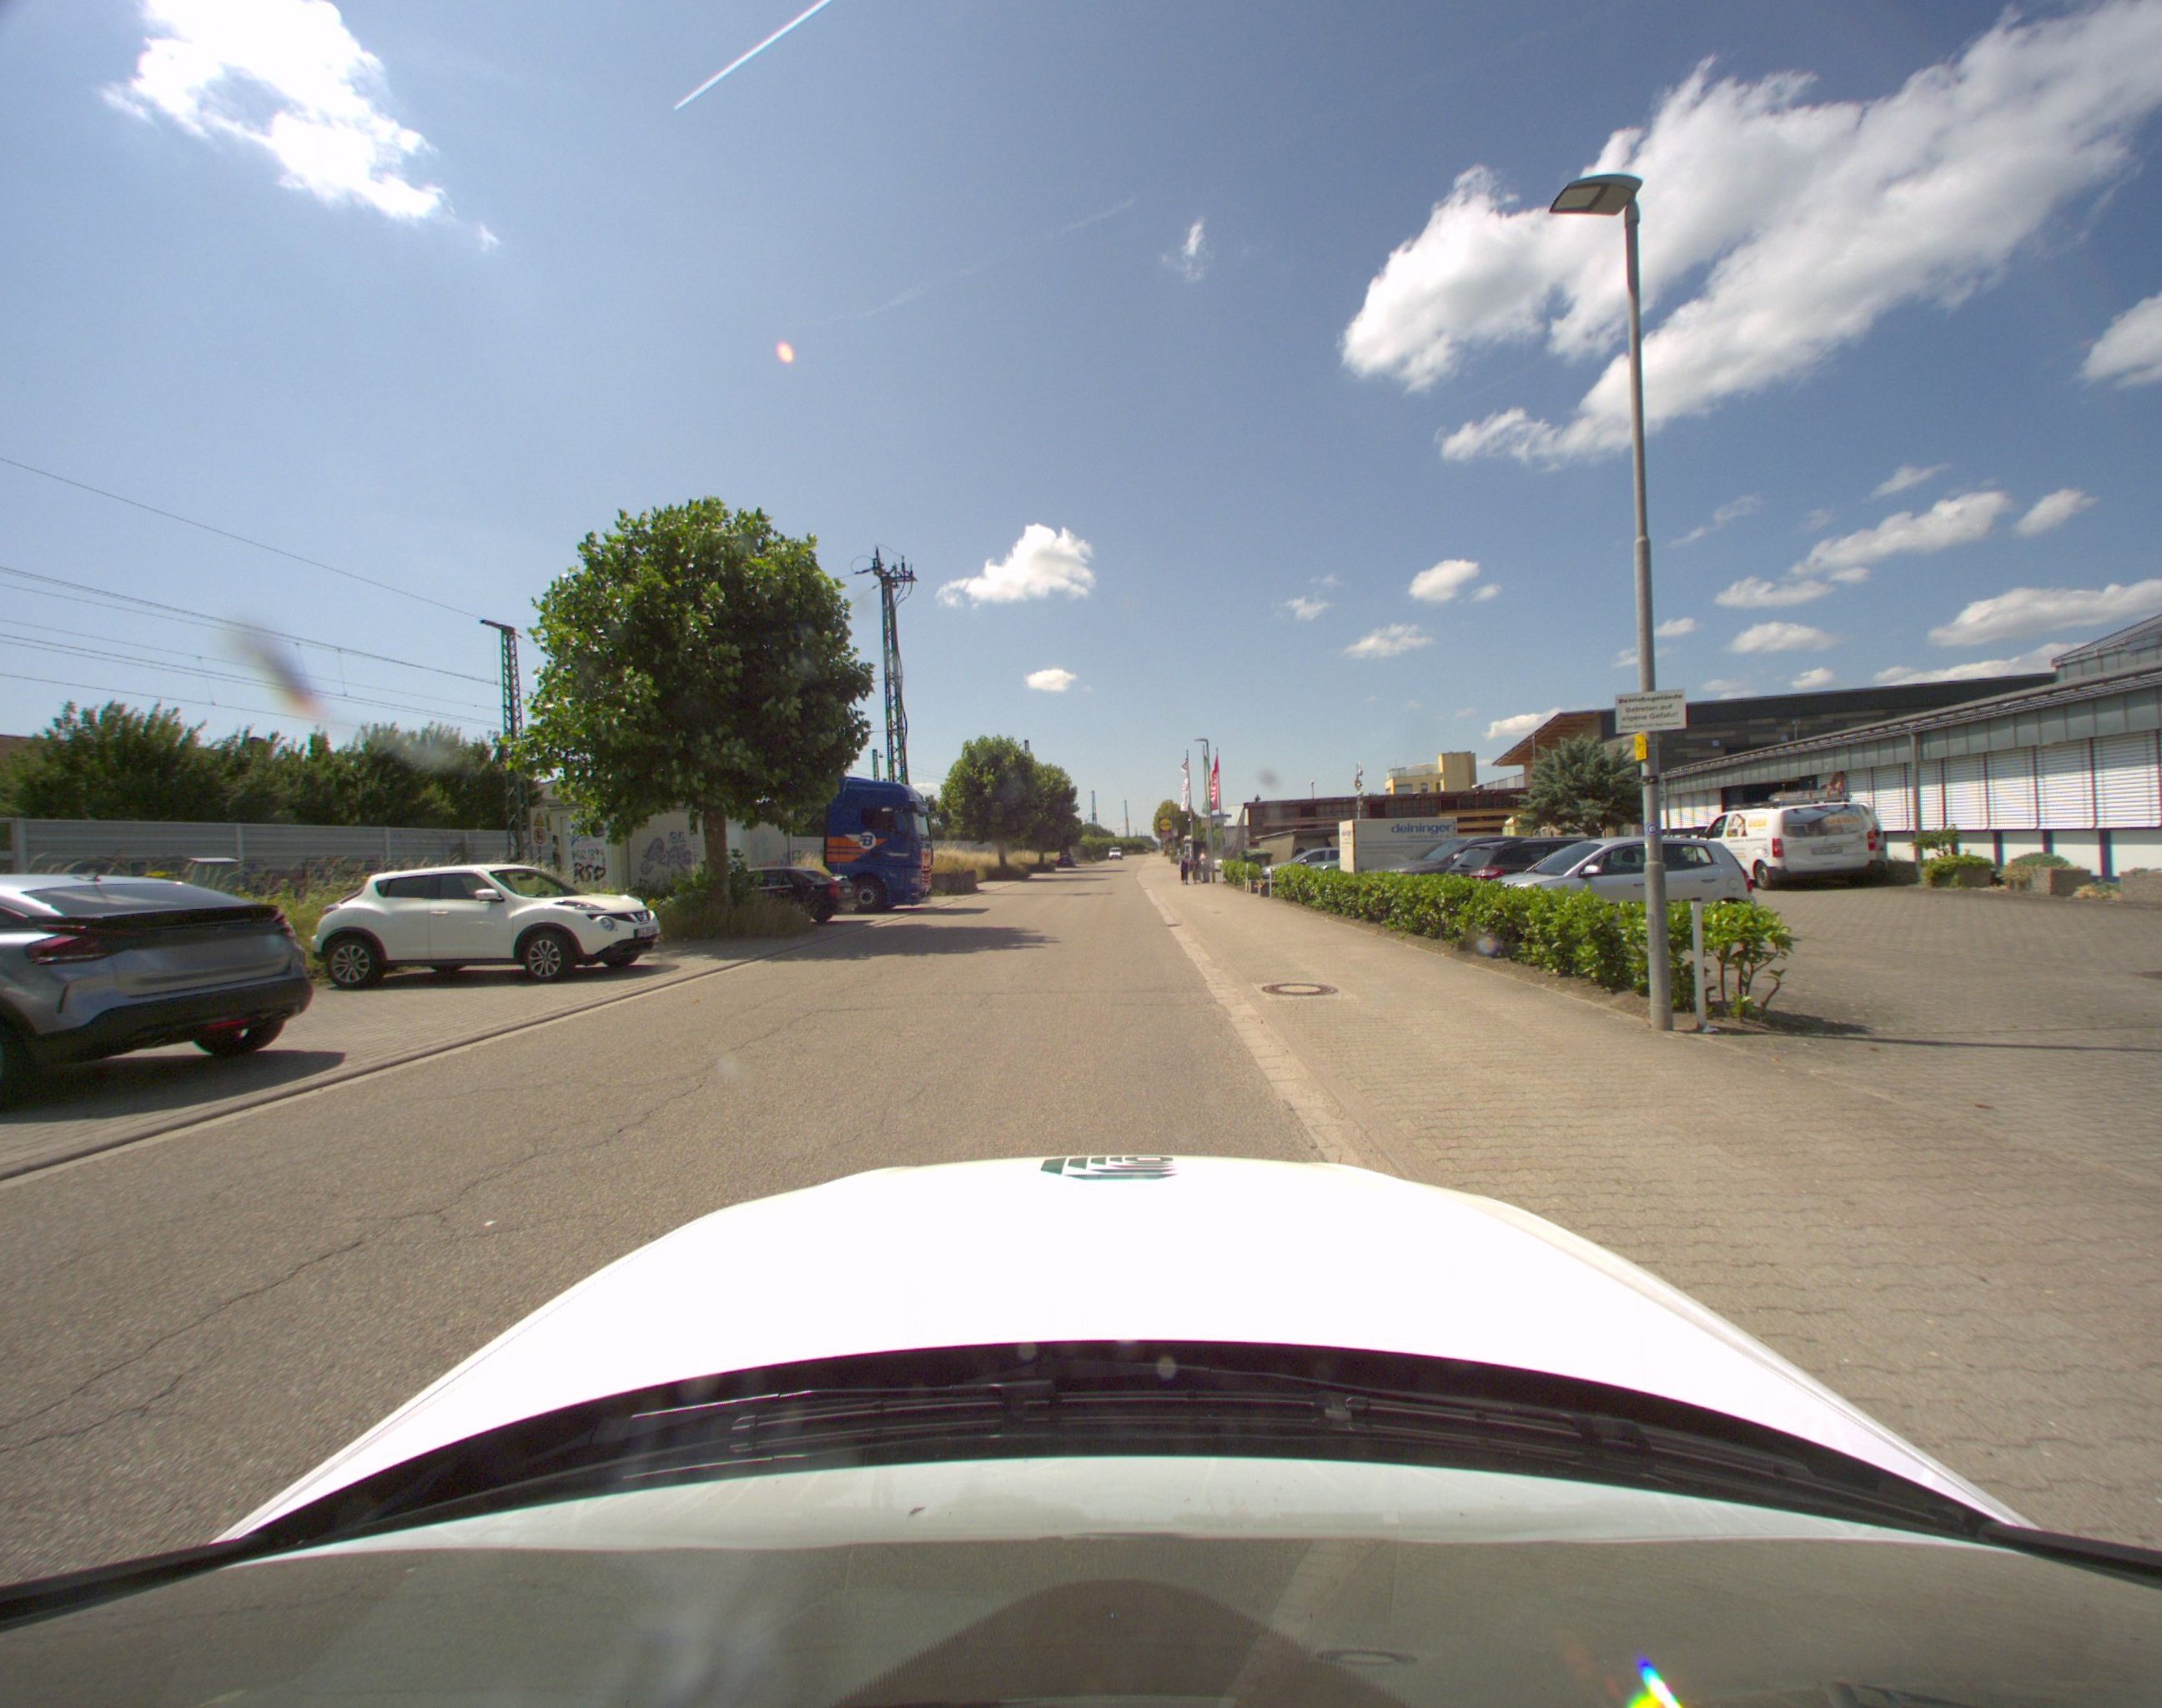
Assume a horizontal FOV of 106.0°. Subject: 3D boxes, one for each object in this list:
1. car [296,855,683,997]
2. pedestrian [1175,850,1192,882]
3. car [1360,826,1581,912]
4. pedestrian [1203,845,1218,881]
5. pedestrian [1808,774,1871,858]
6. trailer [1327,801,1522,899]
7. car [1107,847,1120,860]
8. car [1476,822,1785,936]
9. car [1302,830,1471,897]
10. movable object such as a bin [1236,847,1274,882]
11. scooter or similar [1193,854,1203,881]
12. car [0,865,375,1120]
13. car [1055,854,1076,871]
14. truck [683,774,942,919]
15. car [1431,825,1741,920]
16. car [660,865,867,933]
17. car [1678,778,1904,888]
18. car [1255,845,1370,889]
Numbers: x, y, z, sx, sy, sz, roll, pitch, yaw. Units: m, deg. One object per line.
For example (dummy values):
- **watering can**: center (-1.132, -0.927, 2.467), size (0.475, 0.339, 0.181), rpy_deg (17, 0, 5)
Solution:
- **car**: center (-8.052, 0.927, 11.398), size (3.958, 1.618, 1.850), rpy_deg (-3, 0, -1)
- **pedestrian**: center (4.605, 0.535, 36.609), size (0.591, 1.405, 0.584), rpy_deg (-4, -2, 2)
- **car**: center (8.522, 0.331, 18.040), size (4.024, 1.574, 1.712), rpy_deg (-3, -2, -3)
- **pedestrian**: center (5.800, 0.400, 36.429), size (0.533, 1.540, 0.511), rpy_deg (-4, -2, 2)
- **pedestrian**: center (18.376, -0.914, 19.736), size (0.713, 1.943, 0.690), rpy_deg (-4, -2, 1)
- **trailer**: center (8.625, -0.052, 20.772), size (3.970, 2.014, 2.001), rpy_deg (-5, -4, 3)
- **car**: center (5.030, -0.070, 126.872), size (1.830, 1.858, 4.489), rpy_deg (-2, 0, 4)
- **car**: center (7.998, 0.347, 12.146), size (3.335, 1.401, 1.773), rpy_deg (-3, 0, 7)
- **car**: center (8.868, 0.303, 23.909), size (4.197, 1.634, 1.801), rpy_deg (-4, -2, 1)
- **movable object such as a bin**: center (7.714, 0.456, 36.181), size (1.272, 1.458, 1.038), rpy_deg (-1, 0, -34)
- **scooter or similar**: center (5.255, 0.602, 36.545), size (0.332, 1.198, 0.398), rpy_deg (-4, -2, 4)
- **car**: center (-8.197, 0.952, 6.125), size (3.973, 1.547, 2.000), rpy_deg (-2, 0, 1)
- **car**: center (-1.560, 0.820, 82.796), size (1.734, 1.596, 3.582), rpy_deg (-2, 0, 3)
- **truck**: center (-7.711, -0.210, 24.024), size (6.590, 3.823, 2.665), rpy_deg (-2, 0, 1)
- **car**: center (8.939, 0.303, 14.685), size (4.460, 1.440, 1.814), rpy_deg (-2, 0, -1)
- **car**: center (-7.595, 1.051, 19.770), size (4.193, 1.395, 1.872), rpy_deg (-2, 0, 1)
- **car**: center (16.516, -0.456, 19.351), size (2.085, 2.125, 4.736), rpy_deg (-5, -1, 15)
- **car**: center (8.664, 0.470, 30.728), size (3.828, 1.455, 1.819), rpy_deg (-2, 0, 3)
